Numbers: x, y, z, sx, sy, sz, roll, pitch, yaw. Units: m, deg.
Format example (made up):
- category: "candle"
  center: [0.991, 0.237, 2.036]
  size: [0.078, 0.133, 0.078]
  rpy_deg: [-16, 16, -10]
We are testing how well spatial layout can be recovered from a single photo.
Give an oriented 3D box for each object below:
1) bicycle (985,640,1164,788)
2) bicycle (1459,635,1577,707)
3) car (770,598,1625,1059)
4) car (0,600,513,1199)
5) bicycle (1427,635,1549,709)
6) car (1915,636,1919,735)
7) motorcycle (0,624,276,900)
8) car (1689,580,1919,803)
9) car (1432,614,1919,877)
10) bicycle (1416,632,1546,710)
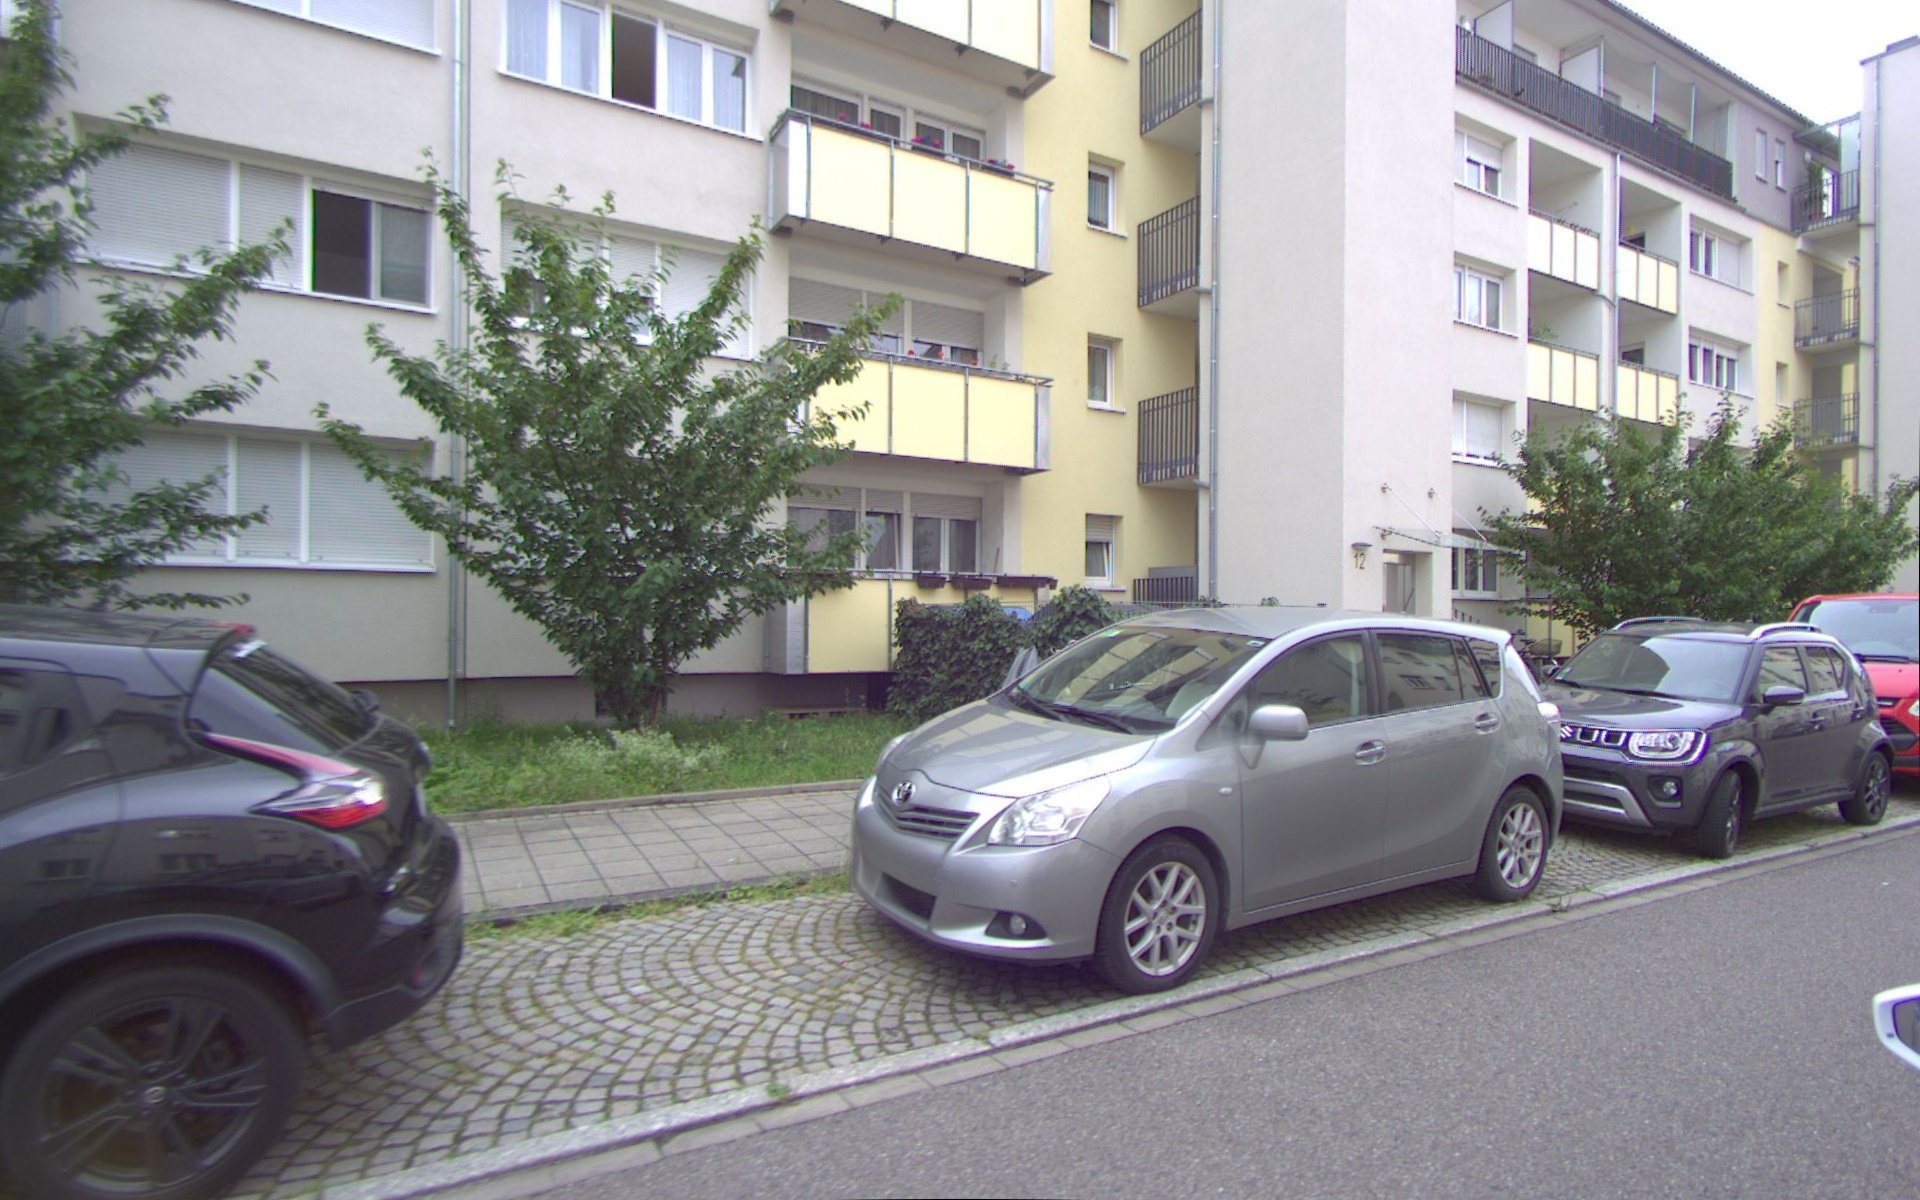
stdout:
- category: "bicycle"
  center: [1.059, 0.972, 9.084]
  size: [1.712, 1.207, 0.548]
  rpy_deg: [1, -2, -38]
- category: "bicycle"
  center: [9.606, 1.192, 17.377]
  size: [0.562, 1.133, 1.830]
  rpy_deg: [0, -1, -23]
- category: "car"
  center: [1.549, 0.834, 5.611]
  size: [4.809, 1.591, 1.824]
  rpy_deg: [1, 1, -33]
- category: "car"
  center: [-3.371, 0.787, 2.725]
  size: [3.846, 1.551, 1.646]
  rpy_deg: [1, 1, -28]
- category: "bicycle"
  center: [8.804, 1.172, 16.837]
  size: [0.563, 1.133, 1.827]
  rpy_deg: [0, -1, -28]
- category: "car"
  center: [15.301, 1.204, 13.990]
  size: [4.313, 1.341, 1.860]
  rpy_deg: [1, 0, -32]
- category: "motorcycle"
  center: [-5.043, 0.805, 5.220]
  size: [2.391, 1.324, 0.865]
  rpy_deg: [1, 0, -30]
- category: "car"
  center: [10.205, 0.829, 10.845]
  size: [4.868, 1.980, 2.139]
  rpy_deg: [1, 1, -33]
- category: "car"
  center: [5.801, 0.942, 8.018]
  size: [4.006, 1.591, 1.712]
  rpy_deg: [1, 1, -31]
- category: "bicycle"
  center: [8.378, 1.114, 16.237]
  size: [0.598, 1.133, 1.825]
  rpy_deg: [1, 0, -31]
